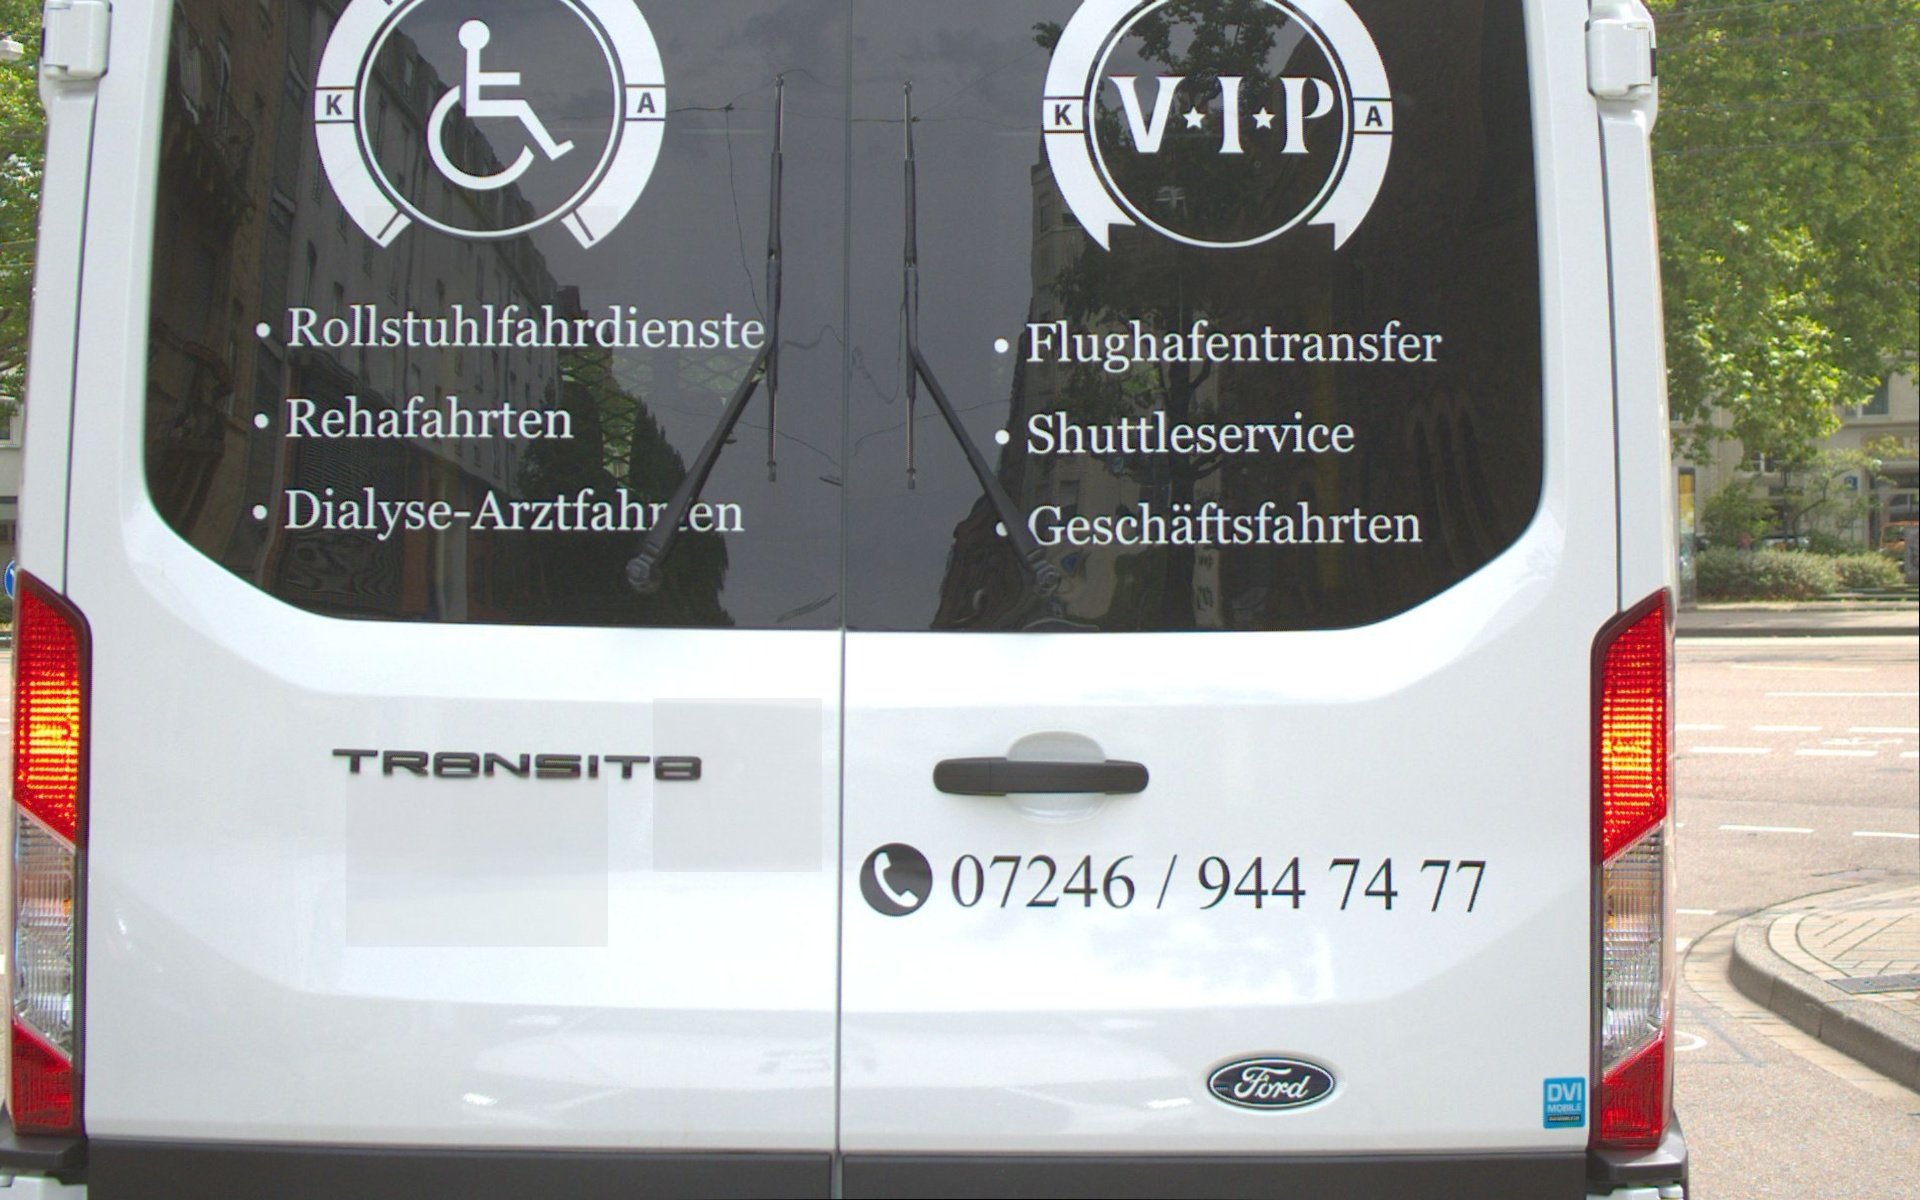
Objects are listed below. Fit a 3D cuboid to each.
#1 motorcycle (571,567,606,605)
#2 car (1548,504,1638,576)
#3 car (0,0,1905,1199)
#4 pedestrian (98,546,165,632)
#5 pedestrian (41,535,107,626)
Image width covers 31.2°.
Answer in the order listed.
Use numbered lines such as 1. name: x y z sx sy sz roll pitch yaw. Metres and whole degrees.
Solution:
1. motorcycle: -10.004 -0.378 92.703 0.683 0.968 2.324 -1 1 0
2. car: 17.446 -1.659 94.915 1.994 1.924 4.000 -1 1 4
3. car: -0.214 0.046 5.778 2.181 2.638 4.629 0 2 -2
4. pedestrian: -14.709 -0.199 61.042 0.932 1.509 0.722 0 1 40
5. pedestrian: -15.465 -0.338 60.005 0.808 1.567 0.722 0 1 28
